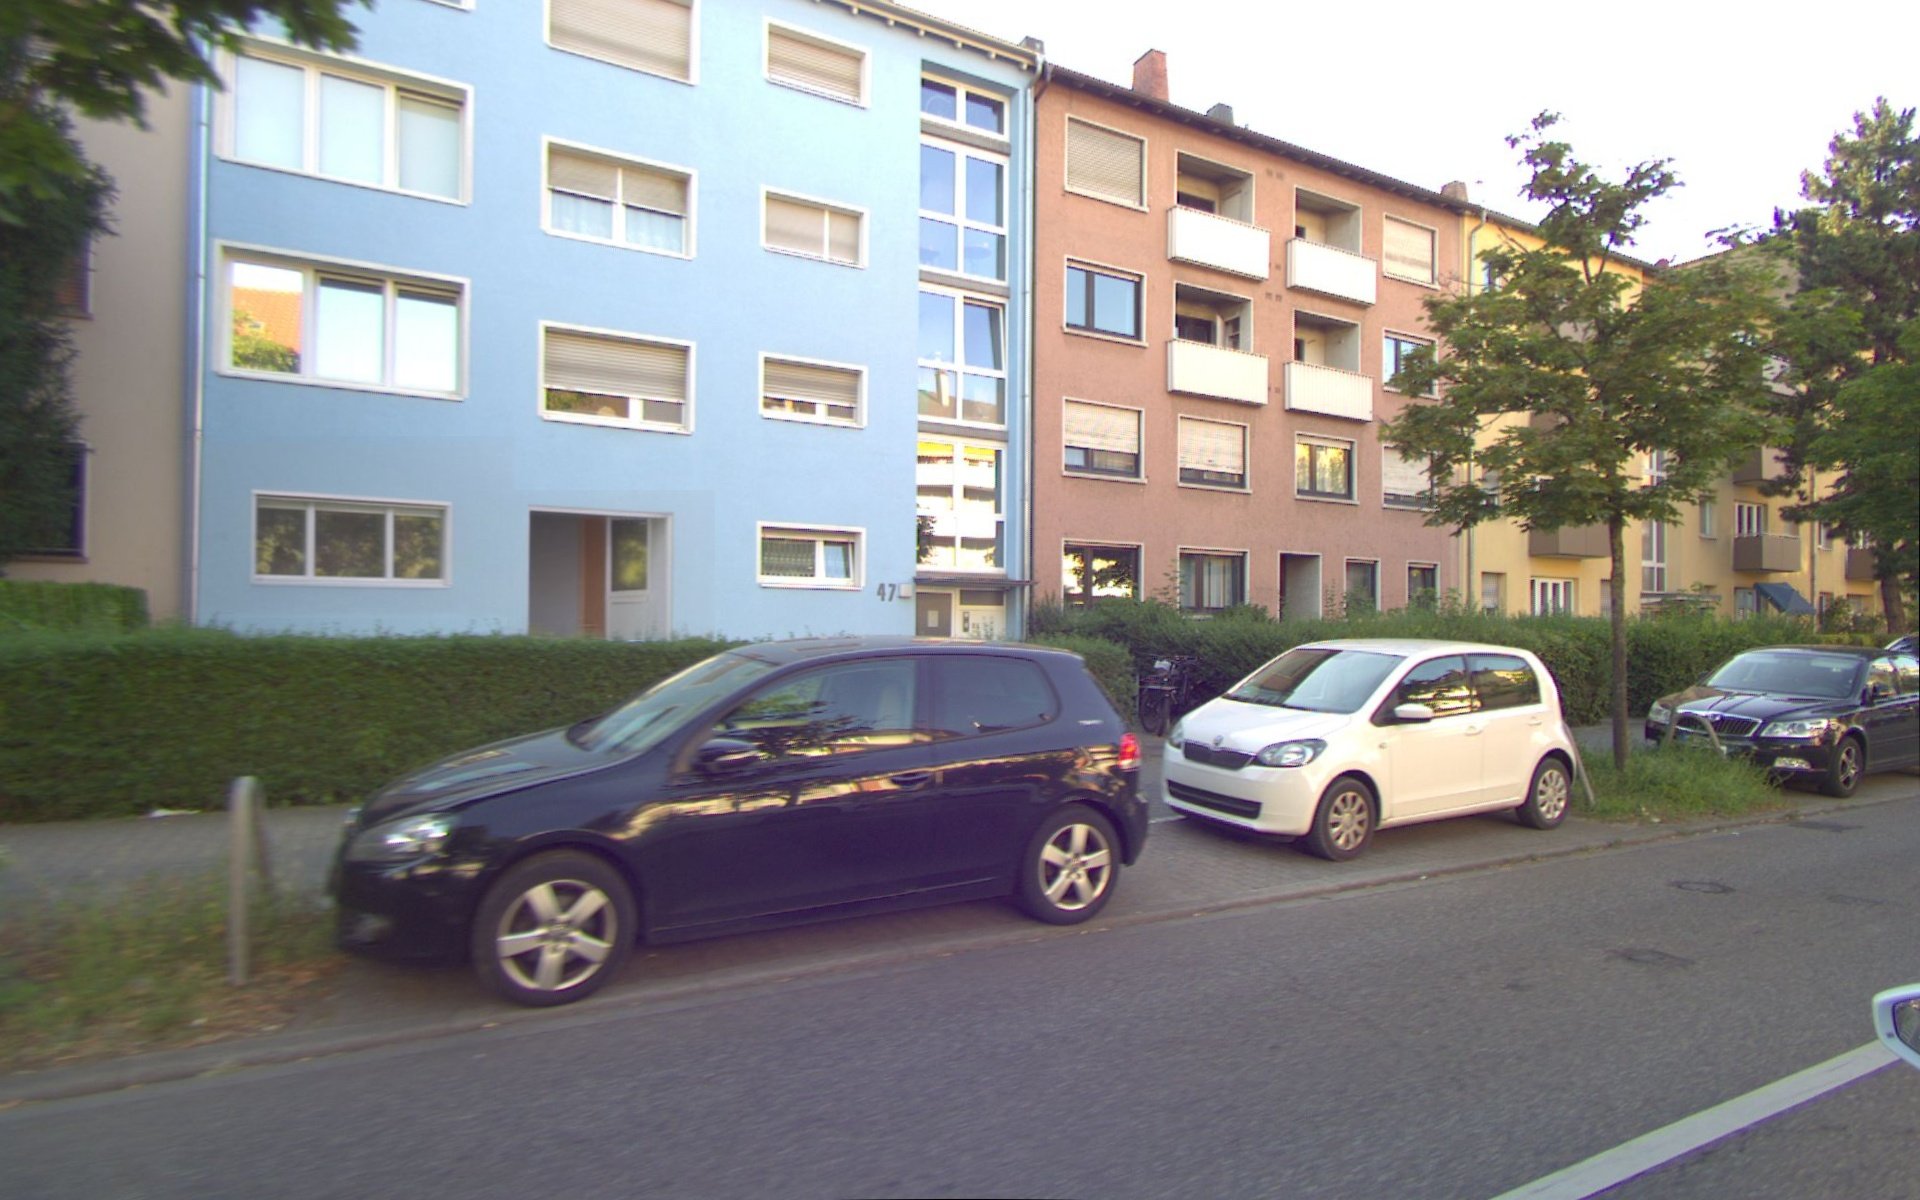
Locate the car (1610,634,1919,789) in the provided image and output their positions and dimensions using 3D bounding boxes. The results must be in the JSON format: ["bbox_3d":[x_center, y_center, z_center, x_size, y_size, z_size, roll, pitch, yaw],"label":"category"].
[{"bbox_3d":[9.729,1.143,11.535,4.404,1.467,1.985,1,-2,-29],"label":"car"}]

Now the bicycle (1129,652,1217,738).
[{"bbox_3d":[2.880,1.242,13.497,0.526,1.064,1.472,-1,-2,40],"label":"bicycle"}]

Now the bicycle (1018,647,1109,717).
[{"bbox_3d":[1.661,1.284,16.016,1.464,1.064,0.529,1,-2,-34],"label":"bicycle"}]

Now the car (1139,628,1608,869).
[{"bbox_3d":[3.352,1.029,8.030,3.598,1.512,1.584,2,-1,-29],"label":"car"}]

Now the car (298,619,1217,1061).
[{"bbox_3d":[-0.880,0.912,5.398,4.261,1.538,1.830,1,0,-28],"label":"car"}]

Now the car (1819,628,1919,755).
[{"bbox_3d":[14.016,1.219,13.982,4.133,1.609,1.769,1,-1,-28],"label":"car"}]

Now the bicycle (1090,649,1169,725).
[{"bbox_3d":[2.571,1.280,15.170,0.526,1.064,1.472,-1,-2,39],"label":"bicycle"}]
